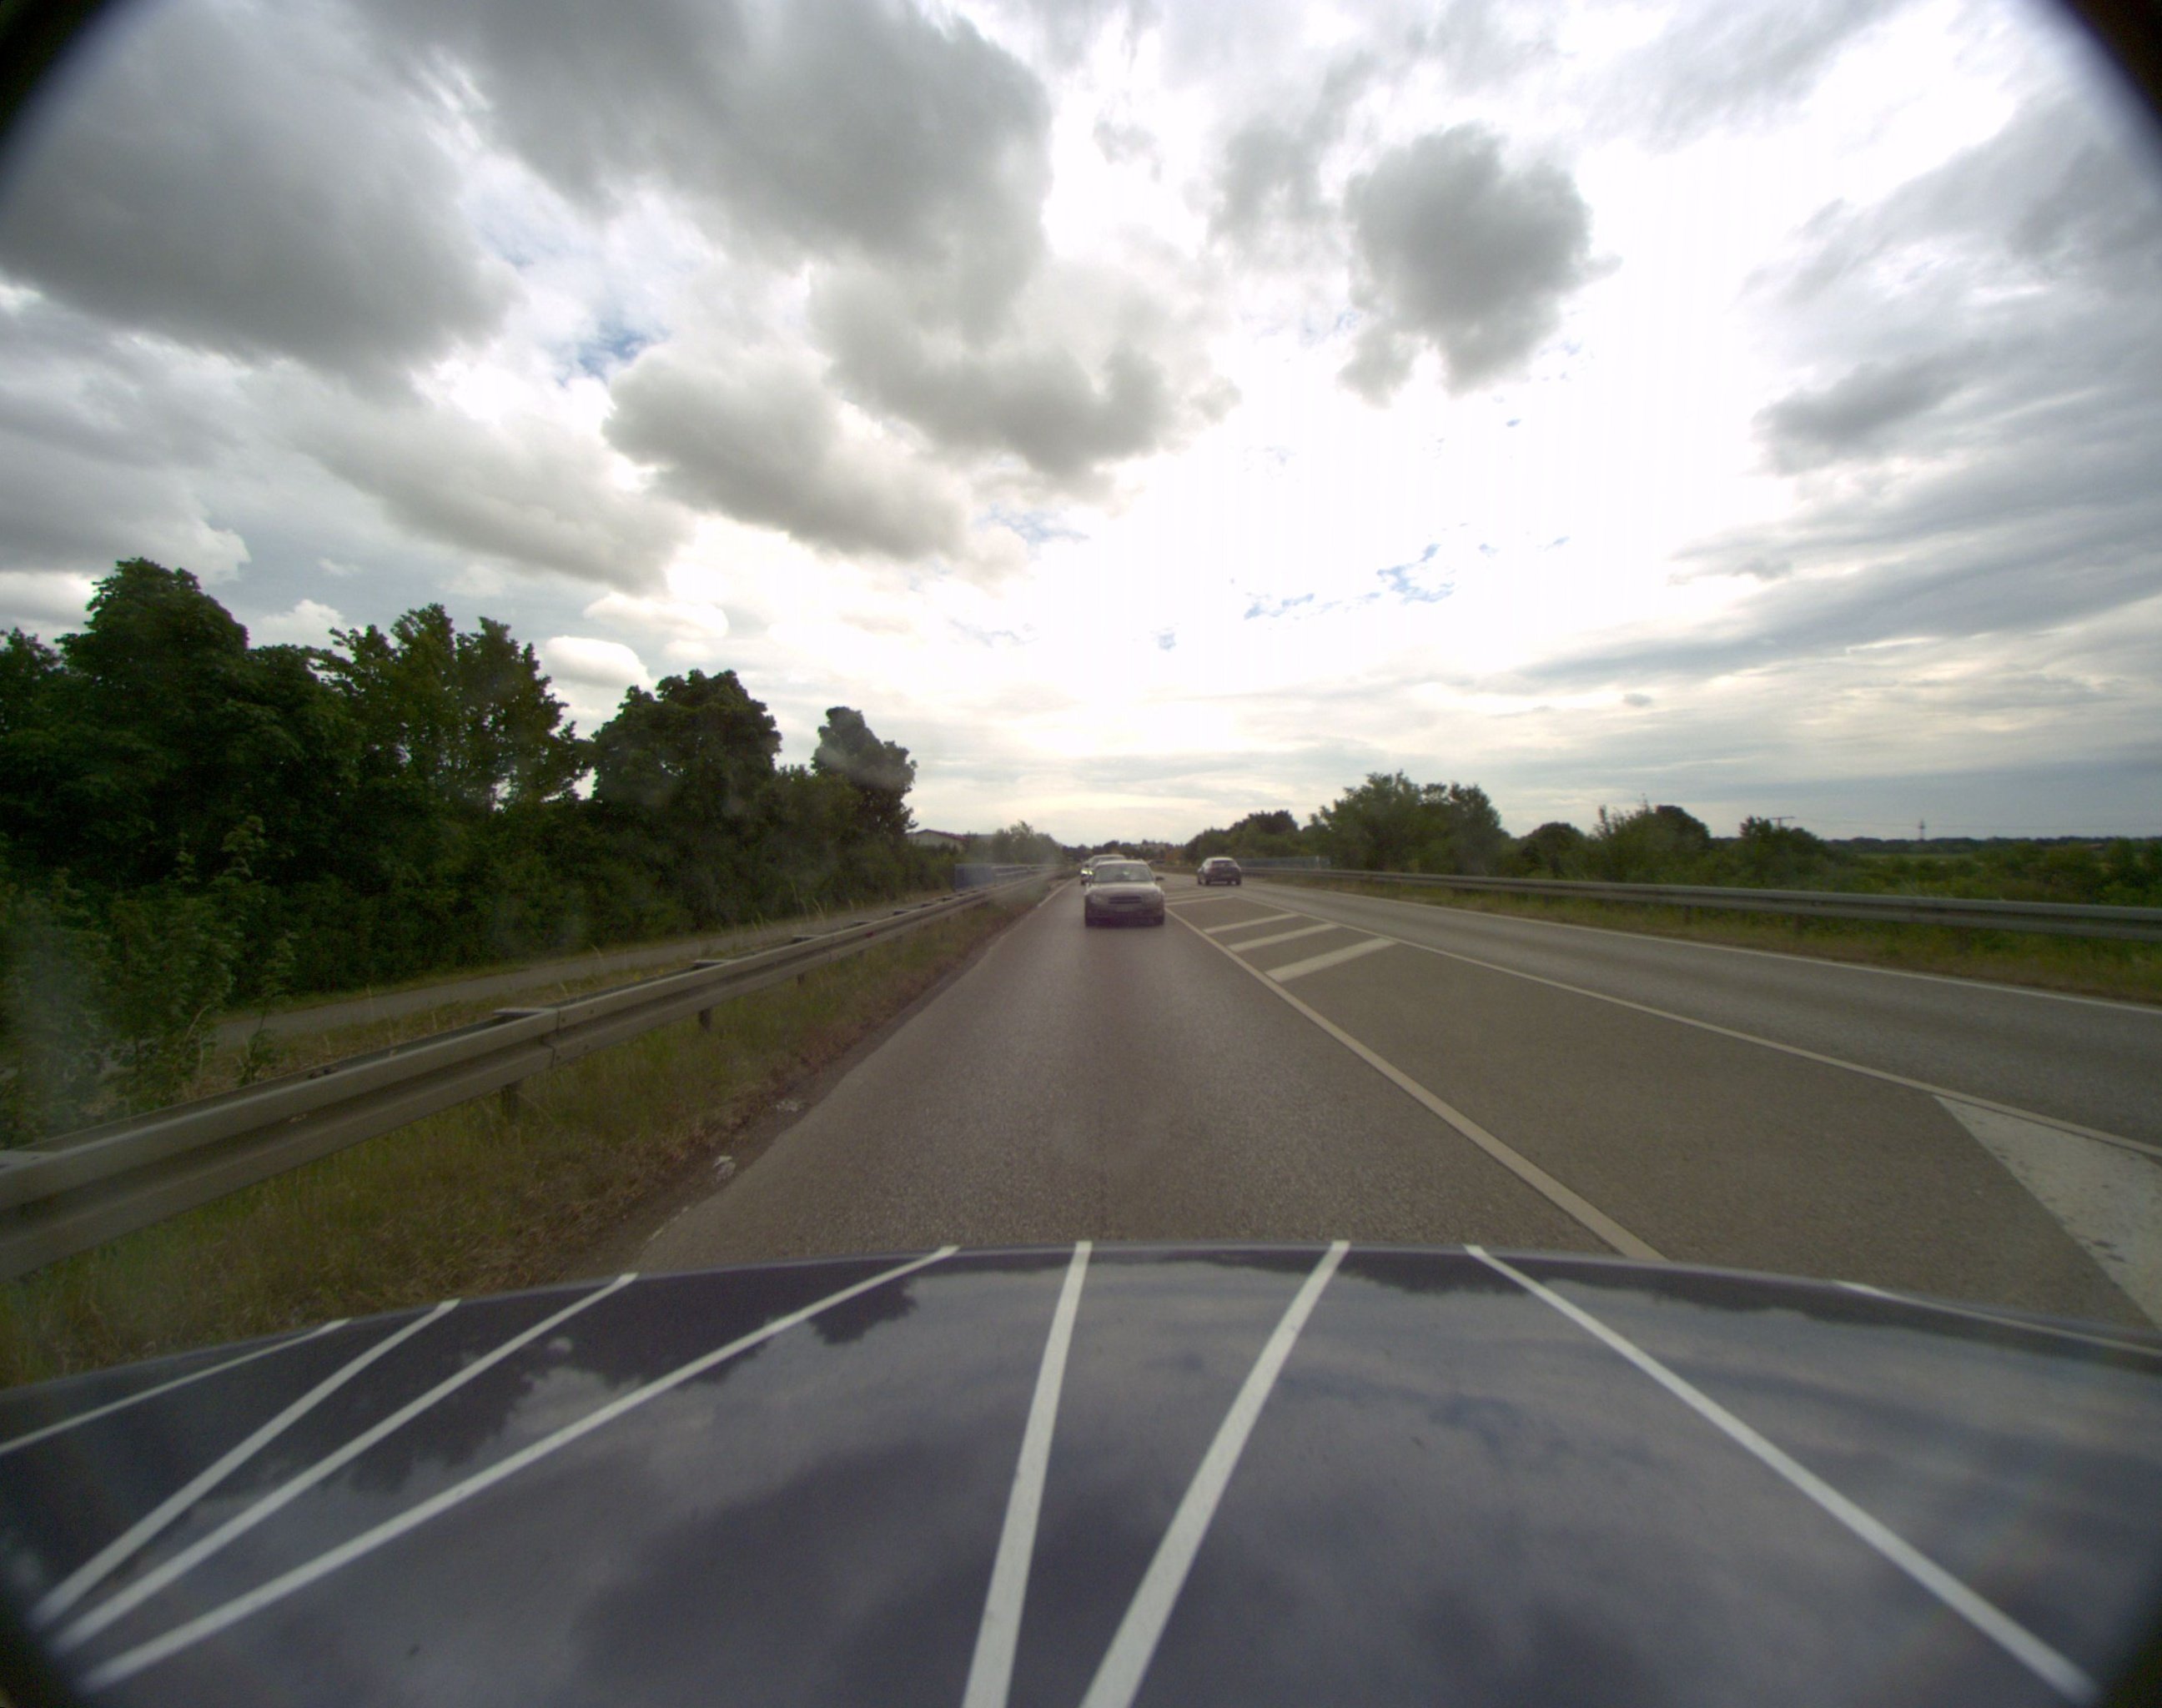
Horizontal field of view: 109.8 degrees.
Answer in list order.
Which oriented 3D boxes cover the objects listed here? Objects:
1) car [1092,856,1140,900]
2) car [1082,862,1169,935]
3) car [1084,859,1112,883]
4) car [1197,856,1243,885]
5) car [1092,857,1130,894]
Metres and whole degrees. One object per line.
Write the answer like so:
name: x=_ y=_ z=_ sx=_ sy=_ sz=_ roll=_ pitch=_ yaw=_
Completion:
car: x=1.290 y=0.889 z=29.606 sx=1.684 sy=1.521 sz=4.000 roll=-2 pitch=0 yaw=1
car: x=0.955 y=0.941 z=17.741 sx=1.768 sy=1.383 sz=3.876 roll=-2 pitch=1 yaw=1
car: x=1.080 y=1.045 z=48.646 sx=1.670 sy=1.339 sz=4.000 roll=-2 pitch=0 yaw=1
car: x=7.224 y=0.814 z=39.934 sx=1.626 sy=1.371 sz=4.512 roll=-1 pitch=0 yaw=1
car: x=1.354 y=0.926 z=34.631 sx=1.602 sy=1.494 sz=3.962 roll=-2 pitch=0 yaw=2
